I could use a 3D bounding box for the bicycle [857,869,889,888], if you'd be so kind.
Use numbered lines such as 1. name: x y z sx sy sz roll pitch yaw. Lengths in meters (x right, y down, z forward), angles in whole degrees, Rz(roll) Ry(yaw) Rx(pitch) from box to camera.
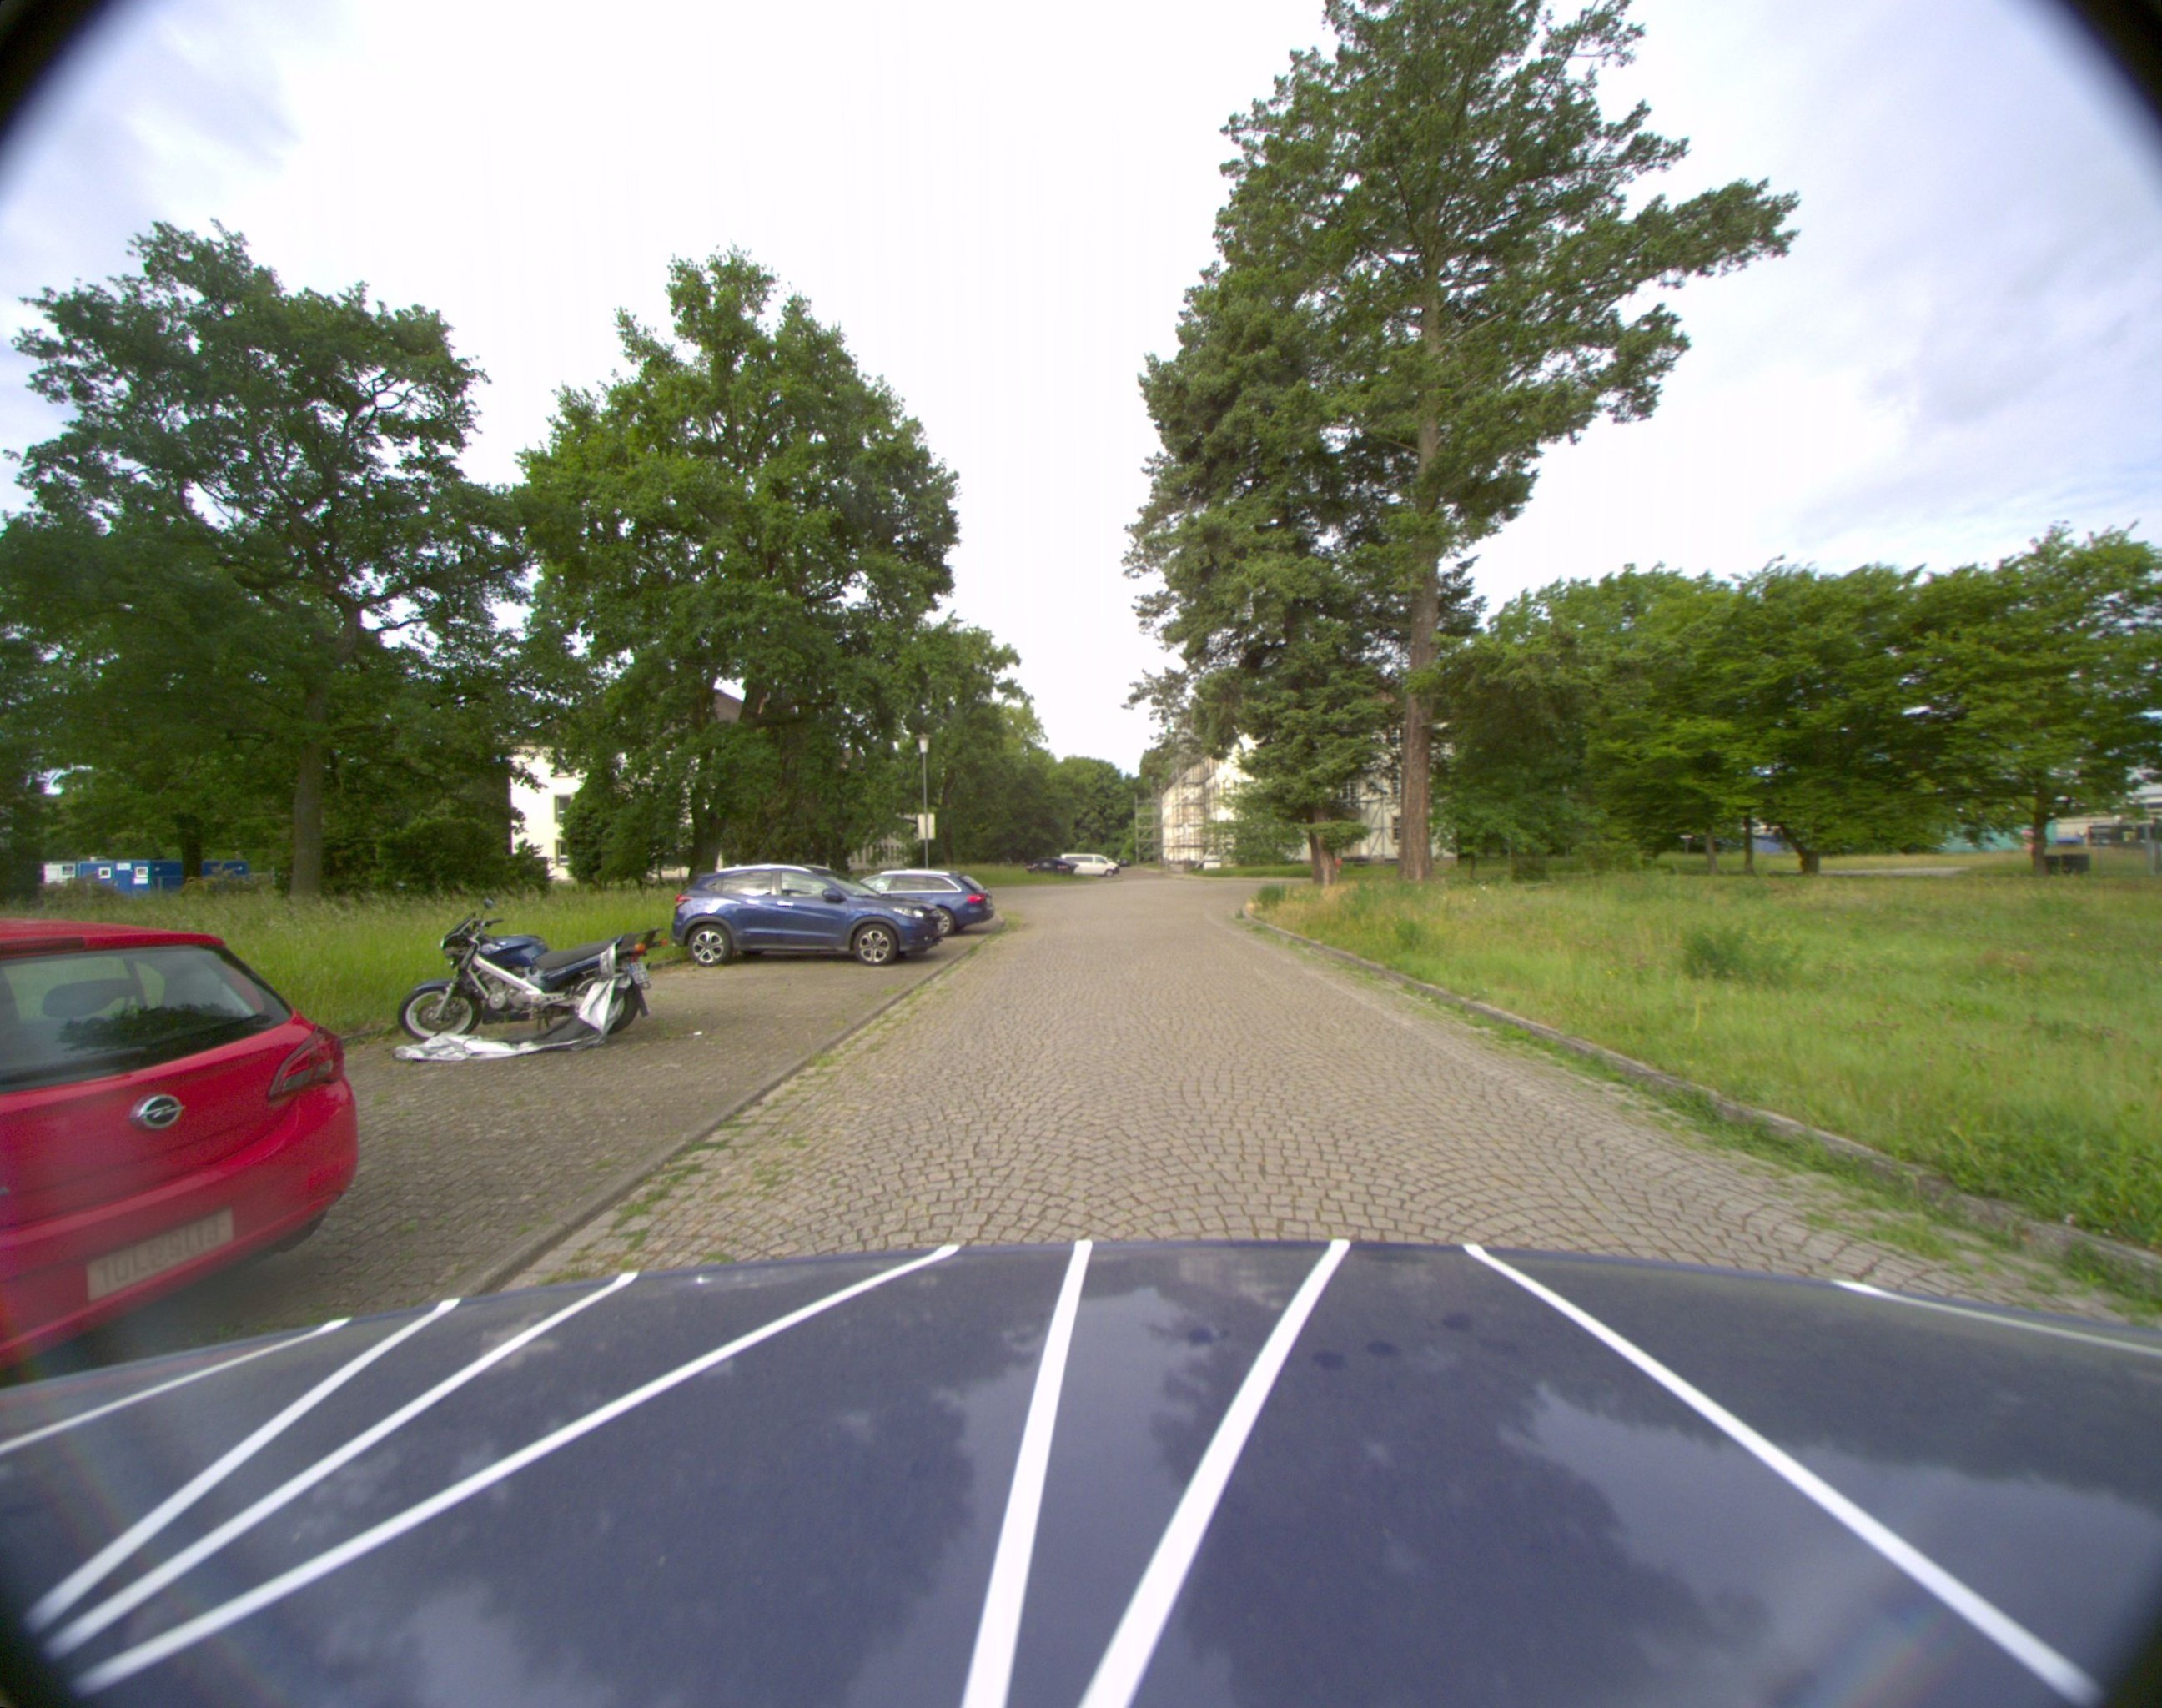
1. bicycle: -13.247 1.545 48.460 1.859 1.116 0.621 -2 1 -22

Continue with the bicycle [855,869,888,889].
1. bicycle: -12.917 1.537 46.795 1.859 1.116 0.621 -2 1 -22

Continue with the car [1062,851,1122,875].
1. car: 0.943 0.785 66.021 5.100 2.007 2.055 0 0 0

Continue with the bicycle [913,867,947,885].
1. bicycle: -9.851 1.433 49.594 2.032 1.070 0.621 -2 1 -22

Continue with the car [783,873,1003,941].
1. car: -4.160 1.169 17.246 4.479 1.413 1.785 0 0 4

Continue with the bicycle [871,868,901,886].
1. bicycle: -13.004 1.517 50.676 1.859 1.116 0.621 -2 1 -22

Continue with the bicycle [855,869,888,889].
1. bicycle: -12.727 1.531 46.181 1.859 1.116 0.621 -2 1 -22

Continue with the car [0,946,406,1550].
1. car: -4.781 1.124 2.323 3.835 1.452 1.779 0 1 1

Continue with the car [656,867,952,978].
1. car: -4.397 1.069 12.550 4.172 1.562 1.793 -1 1 1

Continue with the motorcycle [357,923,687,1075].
1. motorcycle: -4.942 1.267 6.840 2.333 1.179 0.795 -1 1 -1
